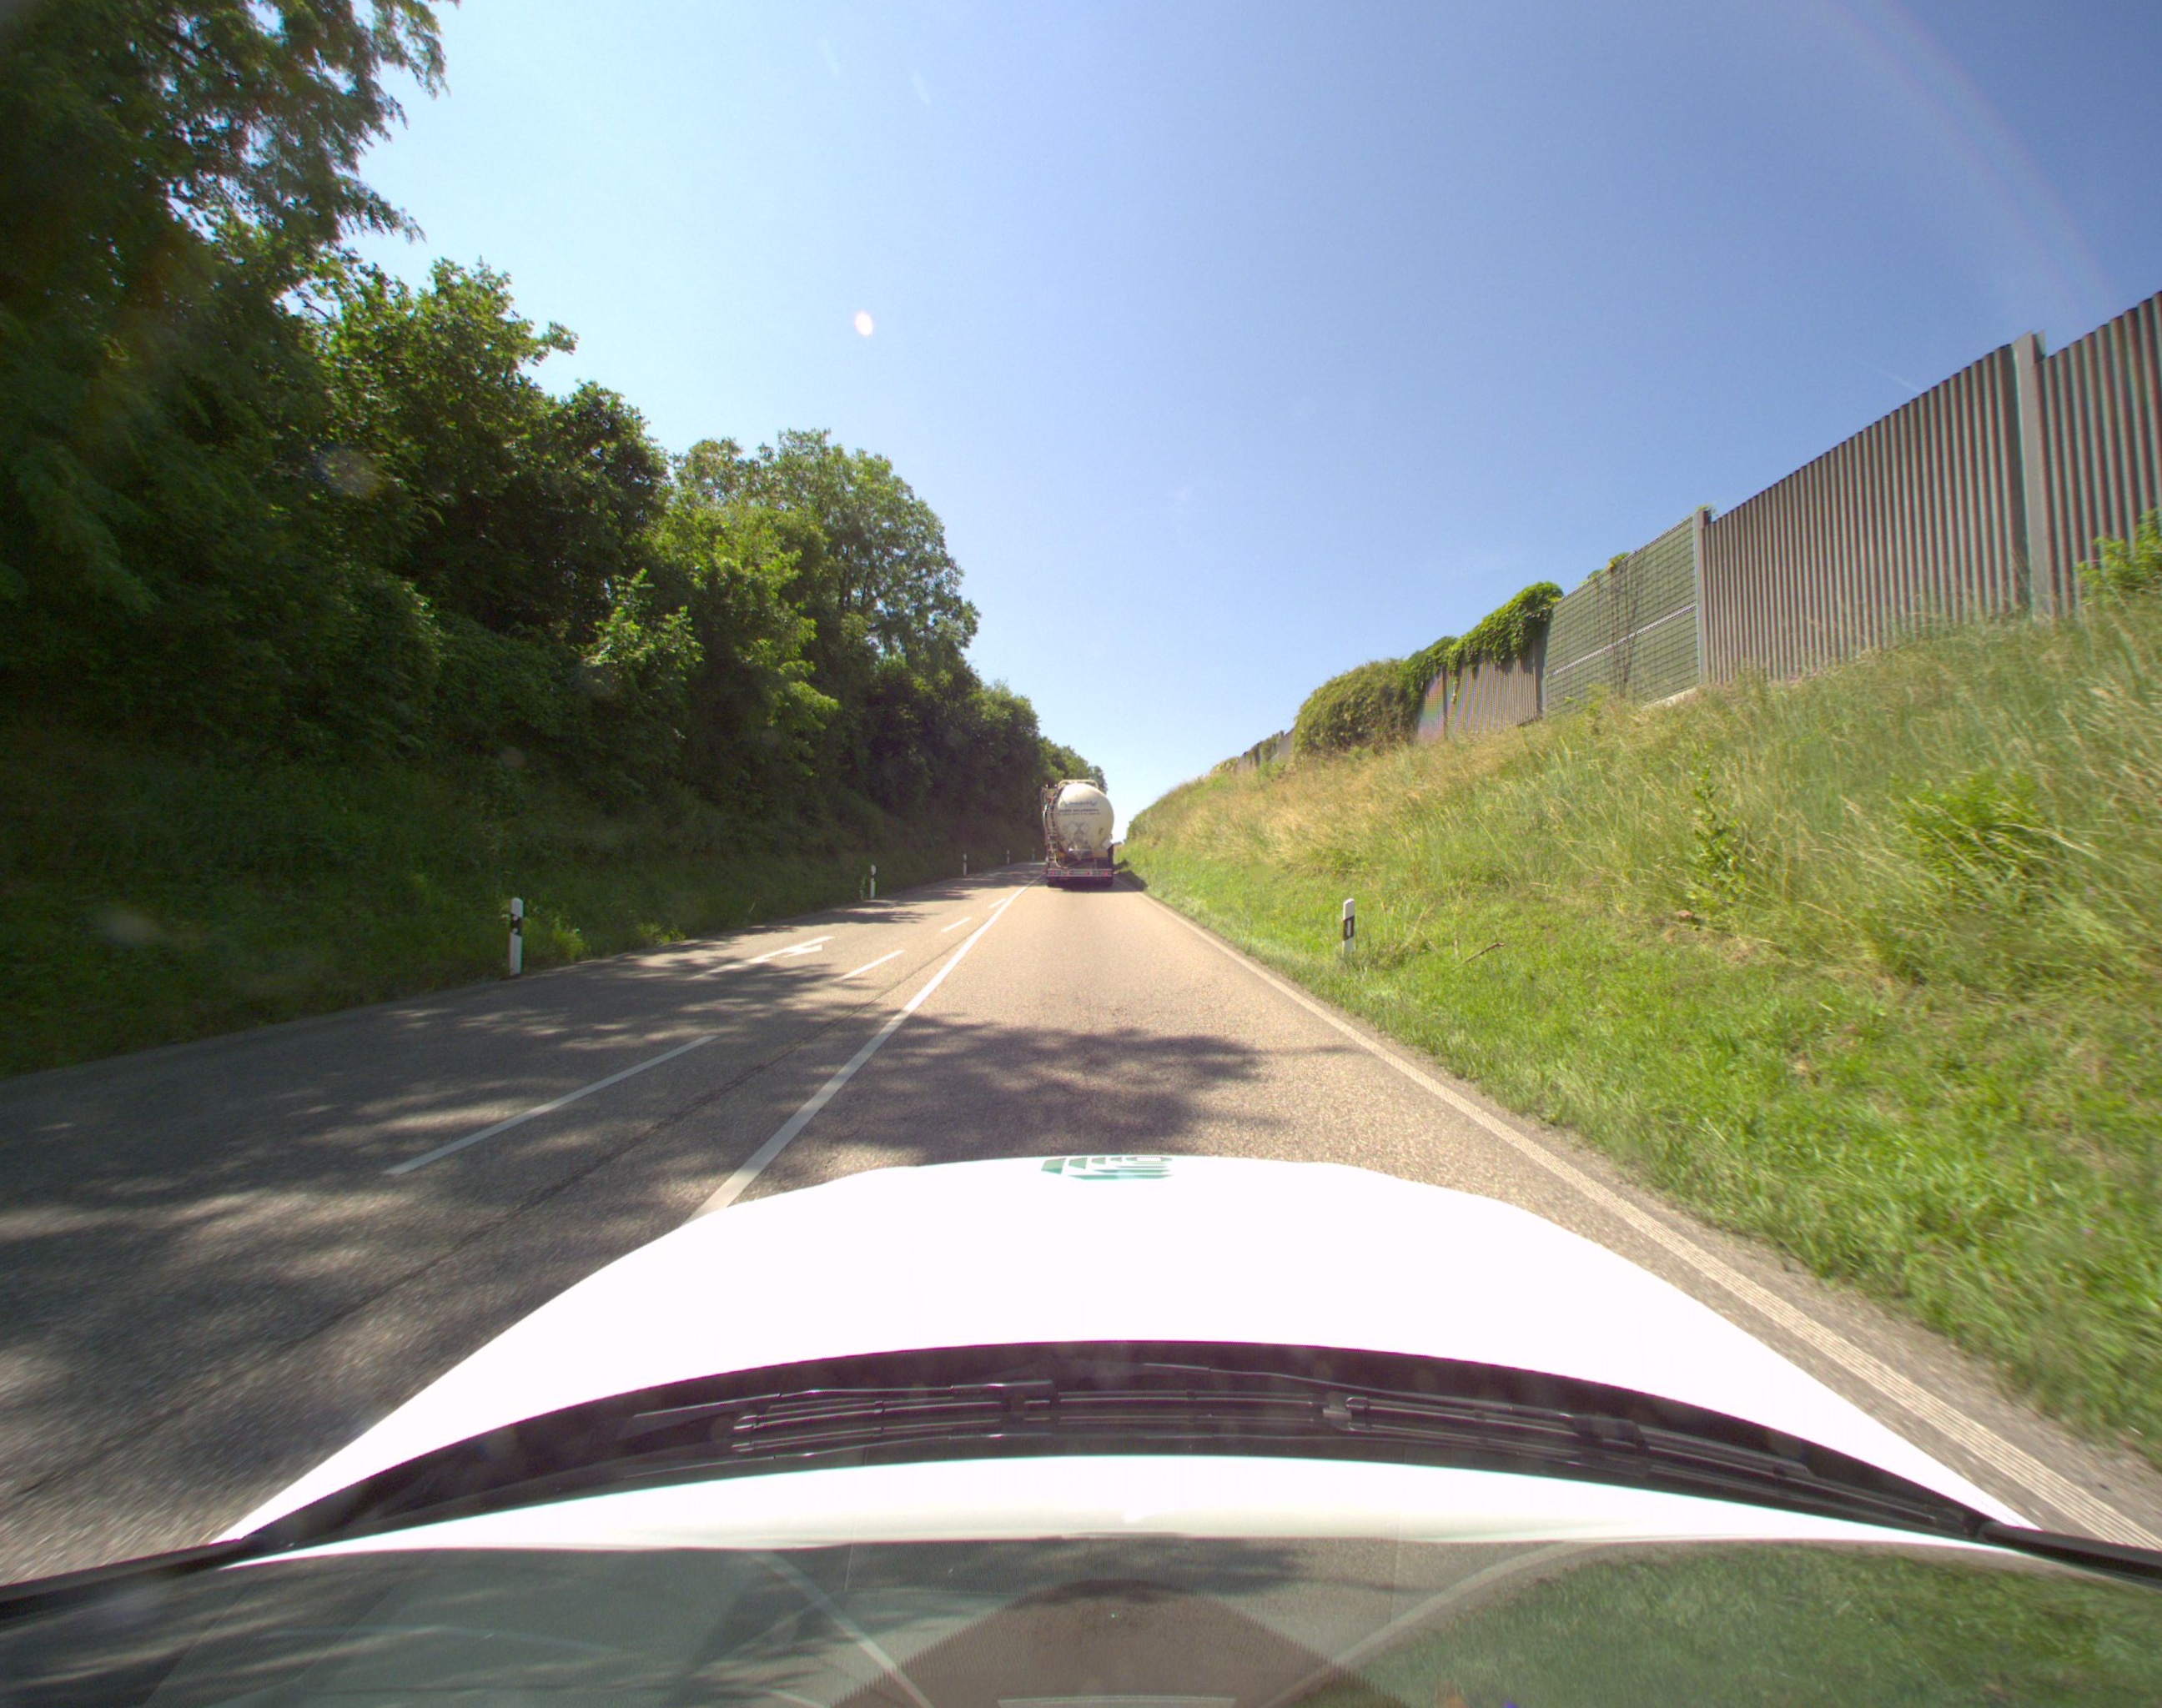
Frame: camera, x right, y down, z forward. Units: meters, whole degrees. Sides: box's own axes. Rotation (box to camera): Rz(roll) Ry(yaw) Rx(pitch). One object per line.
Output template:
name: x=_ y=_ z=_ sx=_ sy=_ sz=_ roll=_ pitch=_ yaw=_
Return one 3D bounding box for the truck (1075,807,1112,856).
truck: x=1.400 y=-2.147 z=81.151 sx=3.178 sy=4.309 sz=11.806 roll=4 pitch=1 yaw=2

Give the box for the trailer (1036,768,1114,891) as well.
trailer: x=-0.063 y=-0.965 z=33.873 sx=2.651 sy=4.188 sz=11.909 roll=1 pitch=1 yaw=1

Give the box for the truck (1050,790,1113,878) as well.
truck: x=0.174 y=-0.893 z=39.878 sx=2.716 sy=3.929 sz=7.269 roll=0 pitch=0 yaw=3
